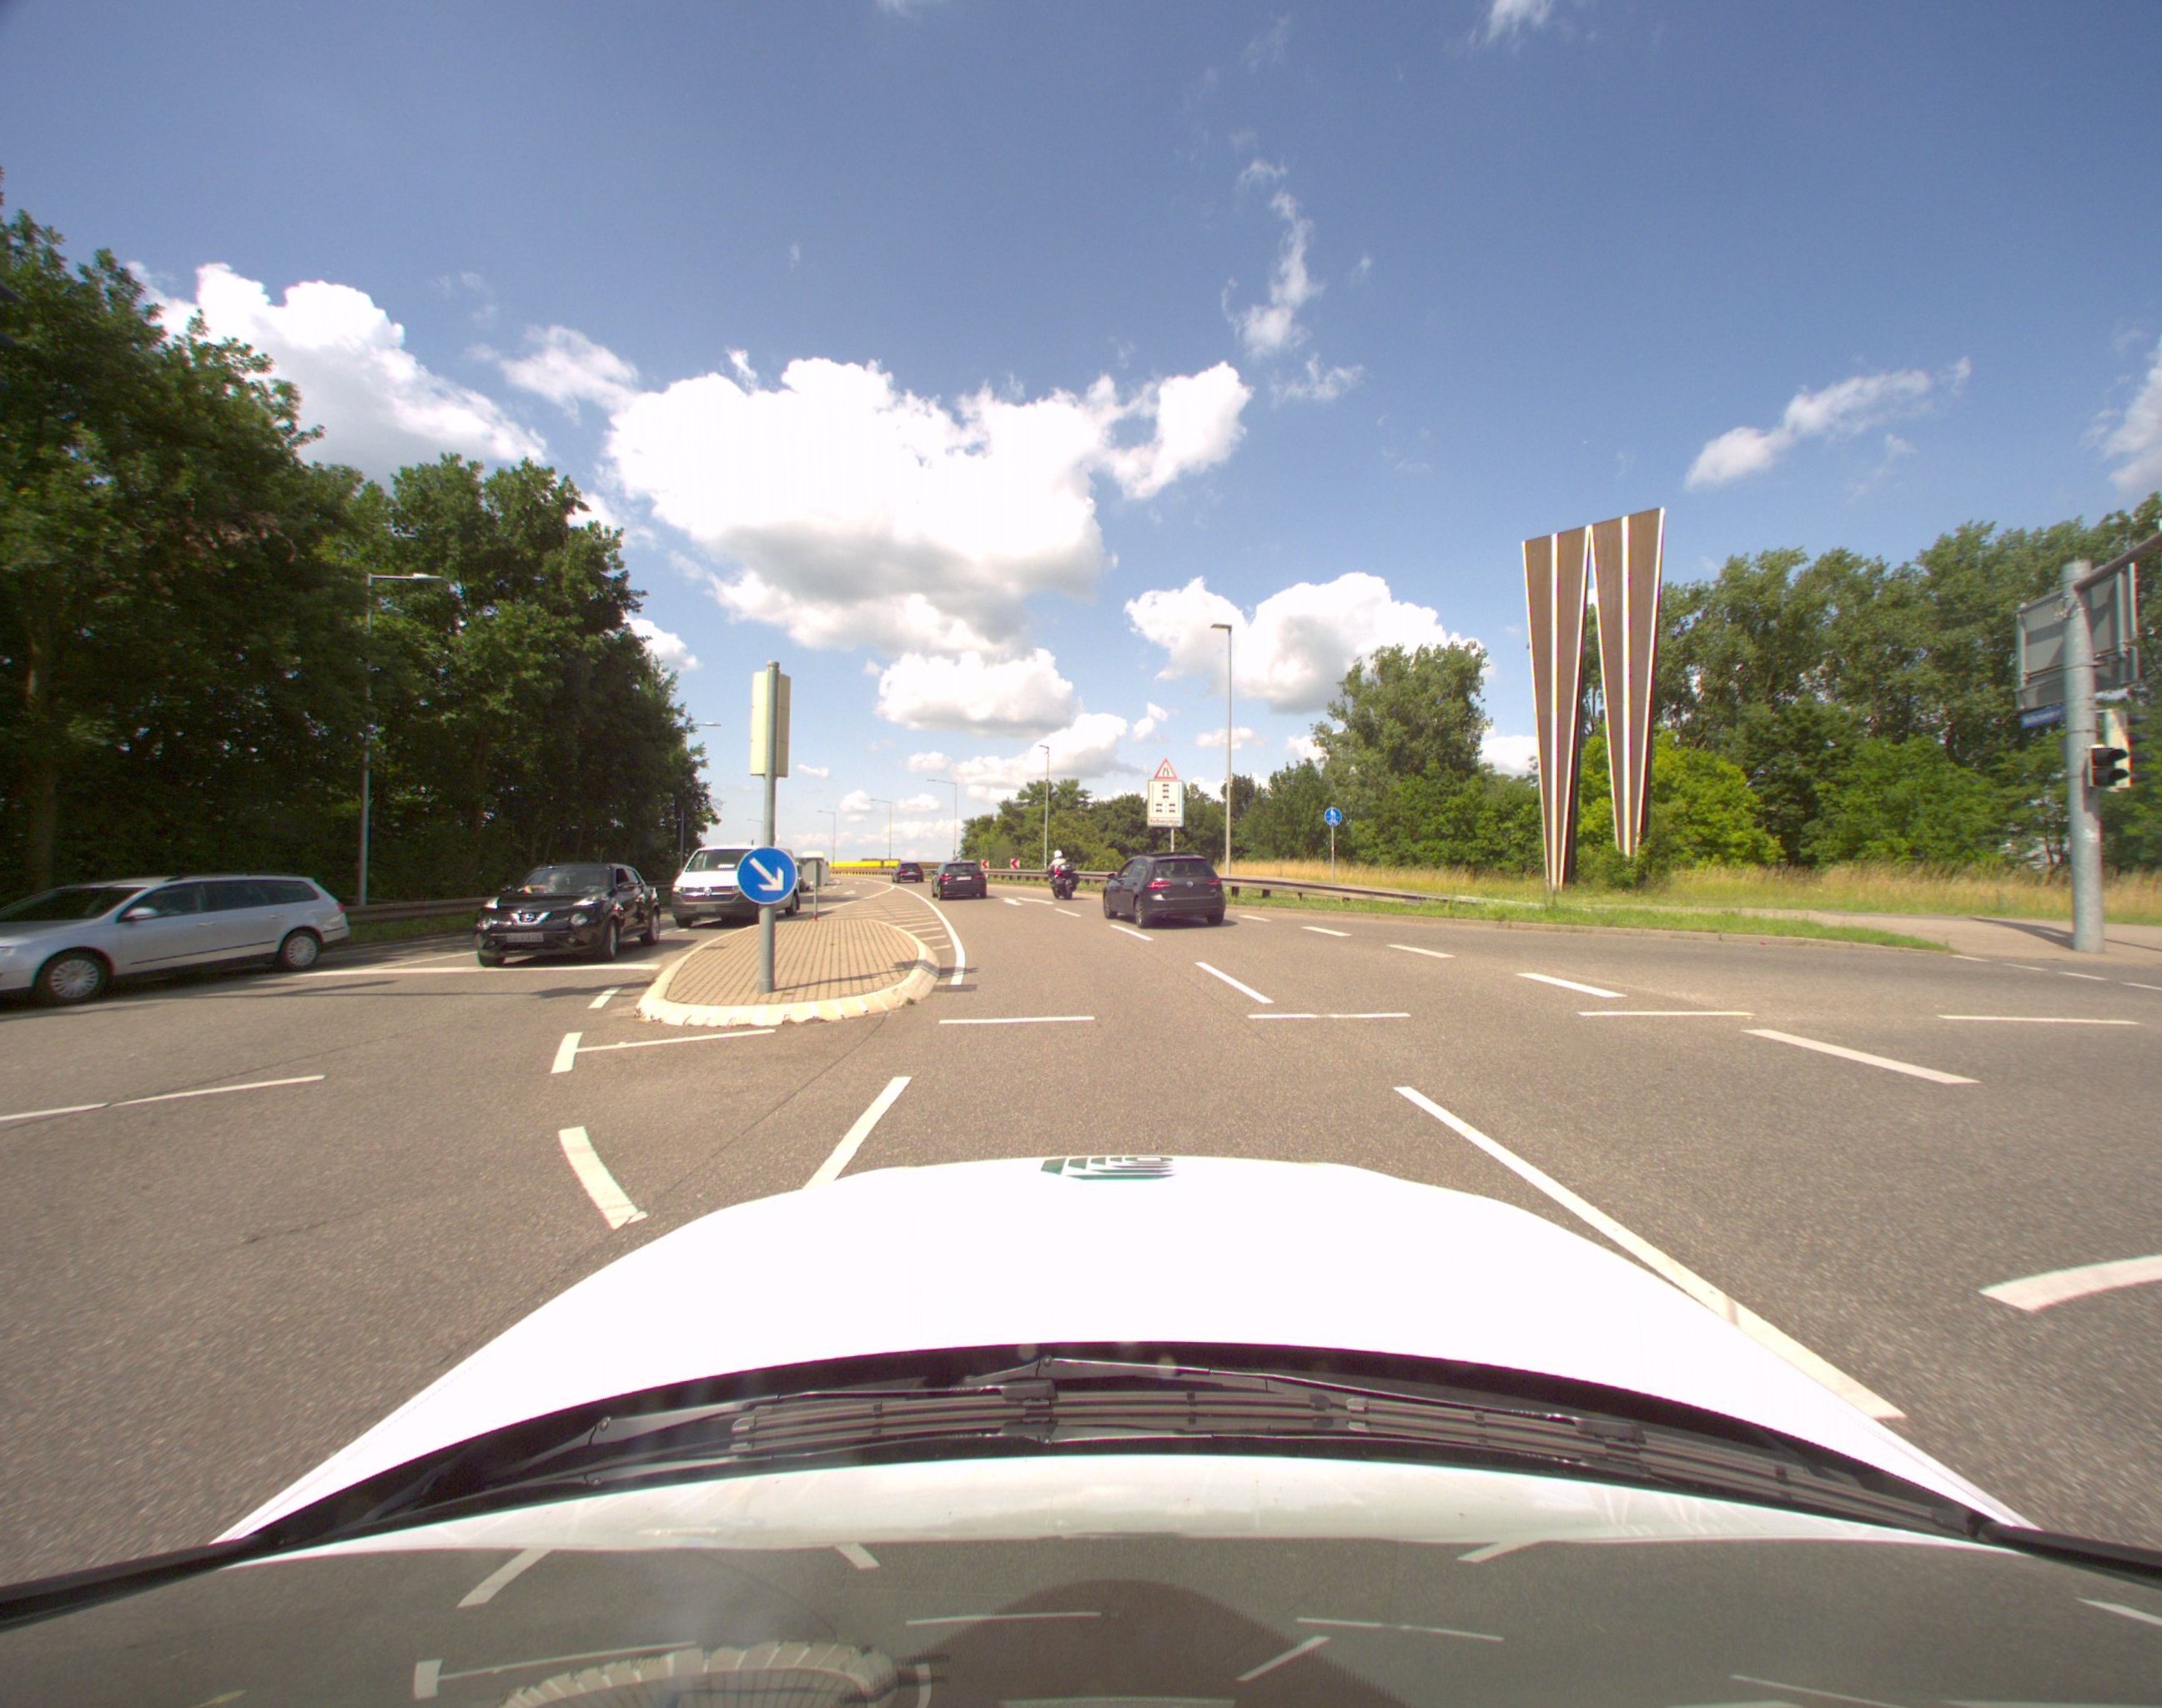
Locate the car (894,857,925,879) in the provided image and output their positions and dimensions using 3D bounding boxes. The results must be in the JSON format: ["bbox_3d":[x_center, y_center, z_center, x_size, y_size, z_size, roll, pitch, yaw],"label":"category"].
[{"bbox_3d":[-11.852,0.995,56.231,1.647,1.479,3.847,-1,-1,-19],"label":"car"}]

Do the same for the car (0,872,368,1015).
[{"bbox_3d":[-12.433,1.043,10.839,1.677,1.478,4.712,-3,-1,0],"label":"car"}]

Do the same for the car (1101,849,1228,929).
[{"bbox_3d":[1.655,0.706,17.447,1.643,1.479,3.857,-1,-1,-11],"label":"car"}]

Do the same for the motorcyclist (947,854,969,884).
[{"bbox_3d":[-6.553,0.801,43.476,0.969,1.596,1.117,0,-1,-20],"label":"motorcyclist"}]

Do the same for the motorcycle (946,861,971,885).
[{"bbox_3d":[-6.556,0.995,43.548,0.890,1.247,2.384,0,-1,-19],"label":"motorcycle"}]

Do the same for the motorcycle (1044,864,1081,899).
[{"bbox_3d":[-0.650,0.913,27.536,0.790,1.132,2.388,0,-1,-13],"label":"motorcycle"}]

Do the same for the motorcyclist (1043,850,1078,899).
[{"bbox_3d":[-0.707,0.684,27.738,0.967,1.620,1.120,0,-1,-13],"label":"motorcyclist"}]

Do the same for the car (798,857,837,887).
[{"bbox_3d":[-18.336,1.211,56.791,1.995,1.913,5.111,-2,0,-12],"label":"car"}]

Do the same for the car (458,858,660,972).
[{"bbox_3d":[-8.300,0.867,13.346,1.701,1.557,3.802,-1,0,-16],"label":"car"}]

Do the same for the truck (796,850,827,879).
[{"bbox_3d":[-25.841,0.994,77.943,2.003,2.621,6.053,-2,0,-25],"label":"truck"}]

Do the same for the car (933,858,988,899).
[{"bbox_3d":[-4.545,0.913,30.312,1.684,1.388,3.722,-2,-1,-13],"label":"car"}]

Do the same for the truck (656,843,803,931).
[{"bbox_3d":[-8.648,0.744,20.611,1.959,1.913,5.356,-1,0,-7],"label":"truck"}]
